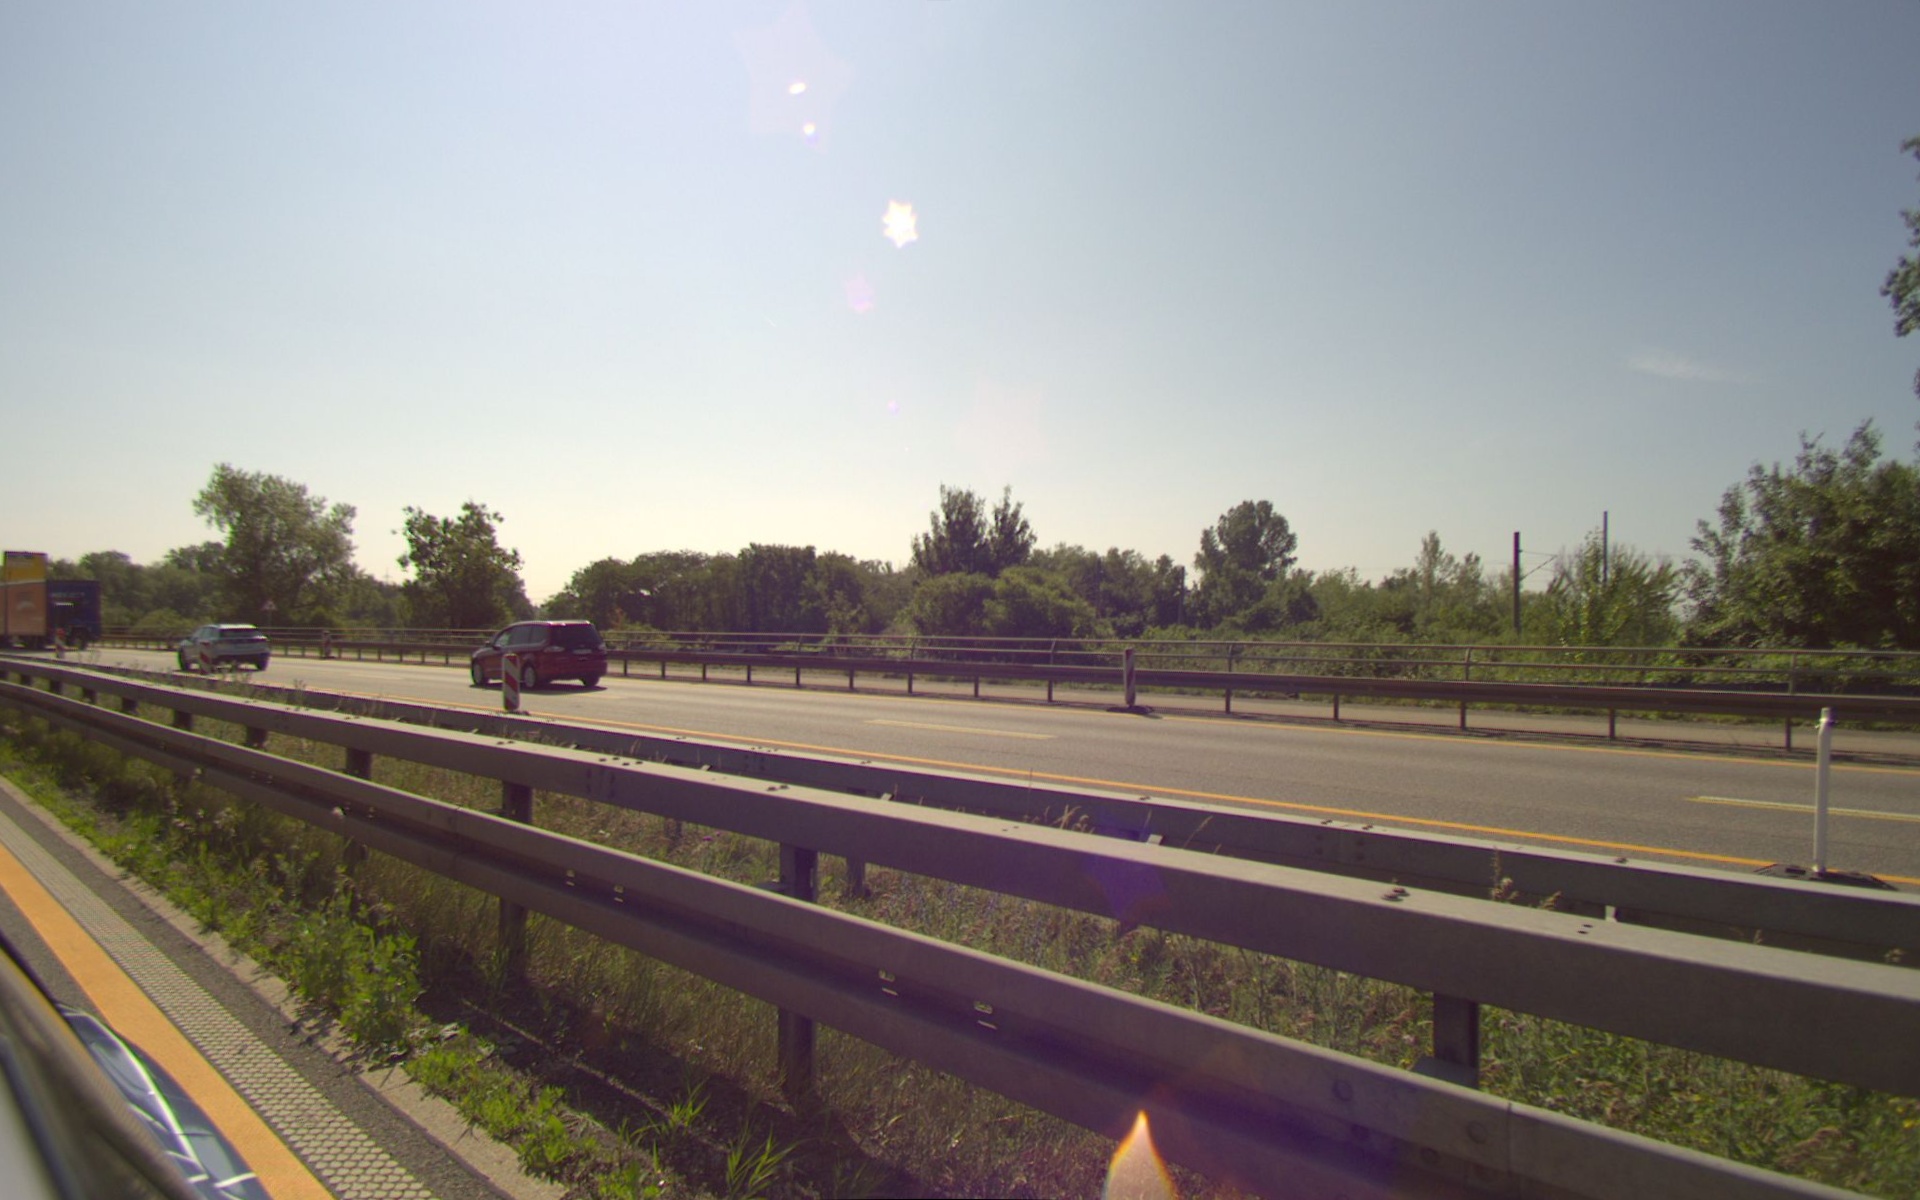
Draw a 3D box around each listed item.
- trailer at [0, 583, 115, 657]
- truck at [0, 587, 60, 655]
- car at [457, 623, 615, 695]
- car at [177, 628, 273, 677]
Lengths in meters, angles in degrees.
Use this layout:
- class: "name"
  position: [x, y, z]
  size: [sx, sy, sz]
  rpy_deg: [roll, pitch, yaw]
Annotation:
- class: "trailer"
  position: [-54.107, 1.222, 60.495]
  size: [9.762, 4.122, 3.012]
  rpy_deg: [-2, -1, 34]
- class: "truck"
  position: [-62.592, 1.403, 66.101]
  size: [10.591, 4.122, 3.014]
  rpy_deg: [-2, -1, 33]
- class: "car"
  position: [-11.387, 1.522, 27.012]
  size: [5.018, 1.748, 1.889]
  rpy_deg: [-2, -3, 42]
- class: "car"
  position: [-26.708, 1.872, 36.739]
  size: [4.374, 1.663, 1.889]
  rpy_deg: [-2, -3, 42]
